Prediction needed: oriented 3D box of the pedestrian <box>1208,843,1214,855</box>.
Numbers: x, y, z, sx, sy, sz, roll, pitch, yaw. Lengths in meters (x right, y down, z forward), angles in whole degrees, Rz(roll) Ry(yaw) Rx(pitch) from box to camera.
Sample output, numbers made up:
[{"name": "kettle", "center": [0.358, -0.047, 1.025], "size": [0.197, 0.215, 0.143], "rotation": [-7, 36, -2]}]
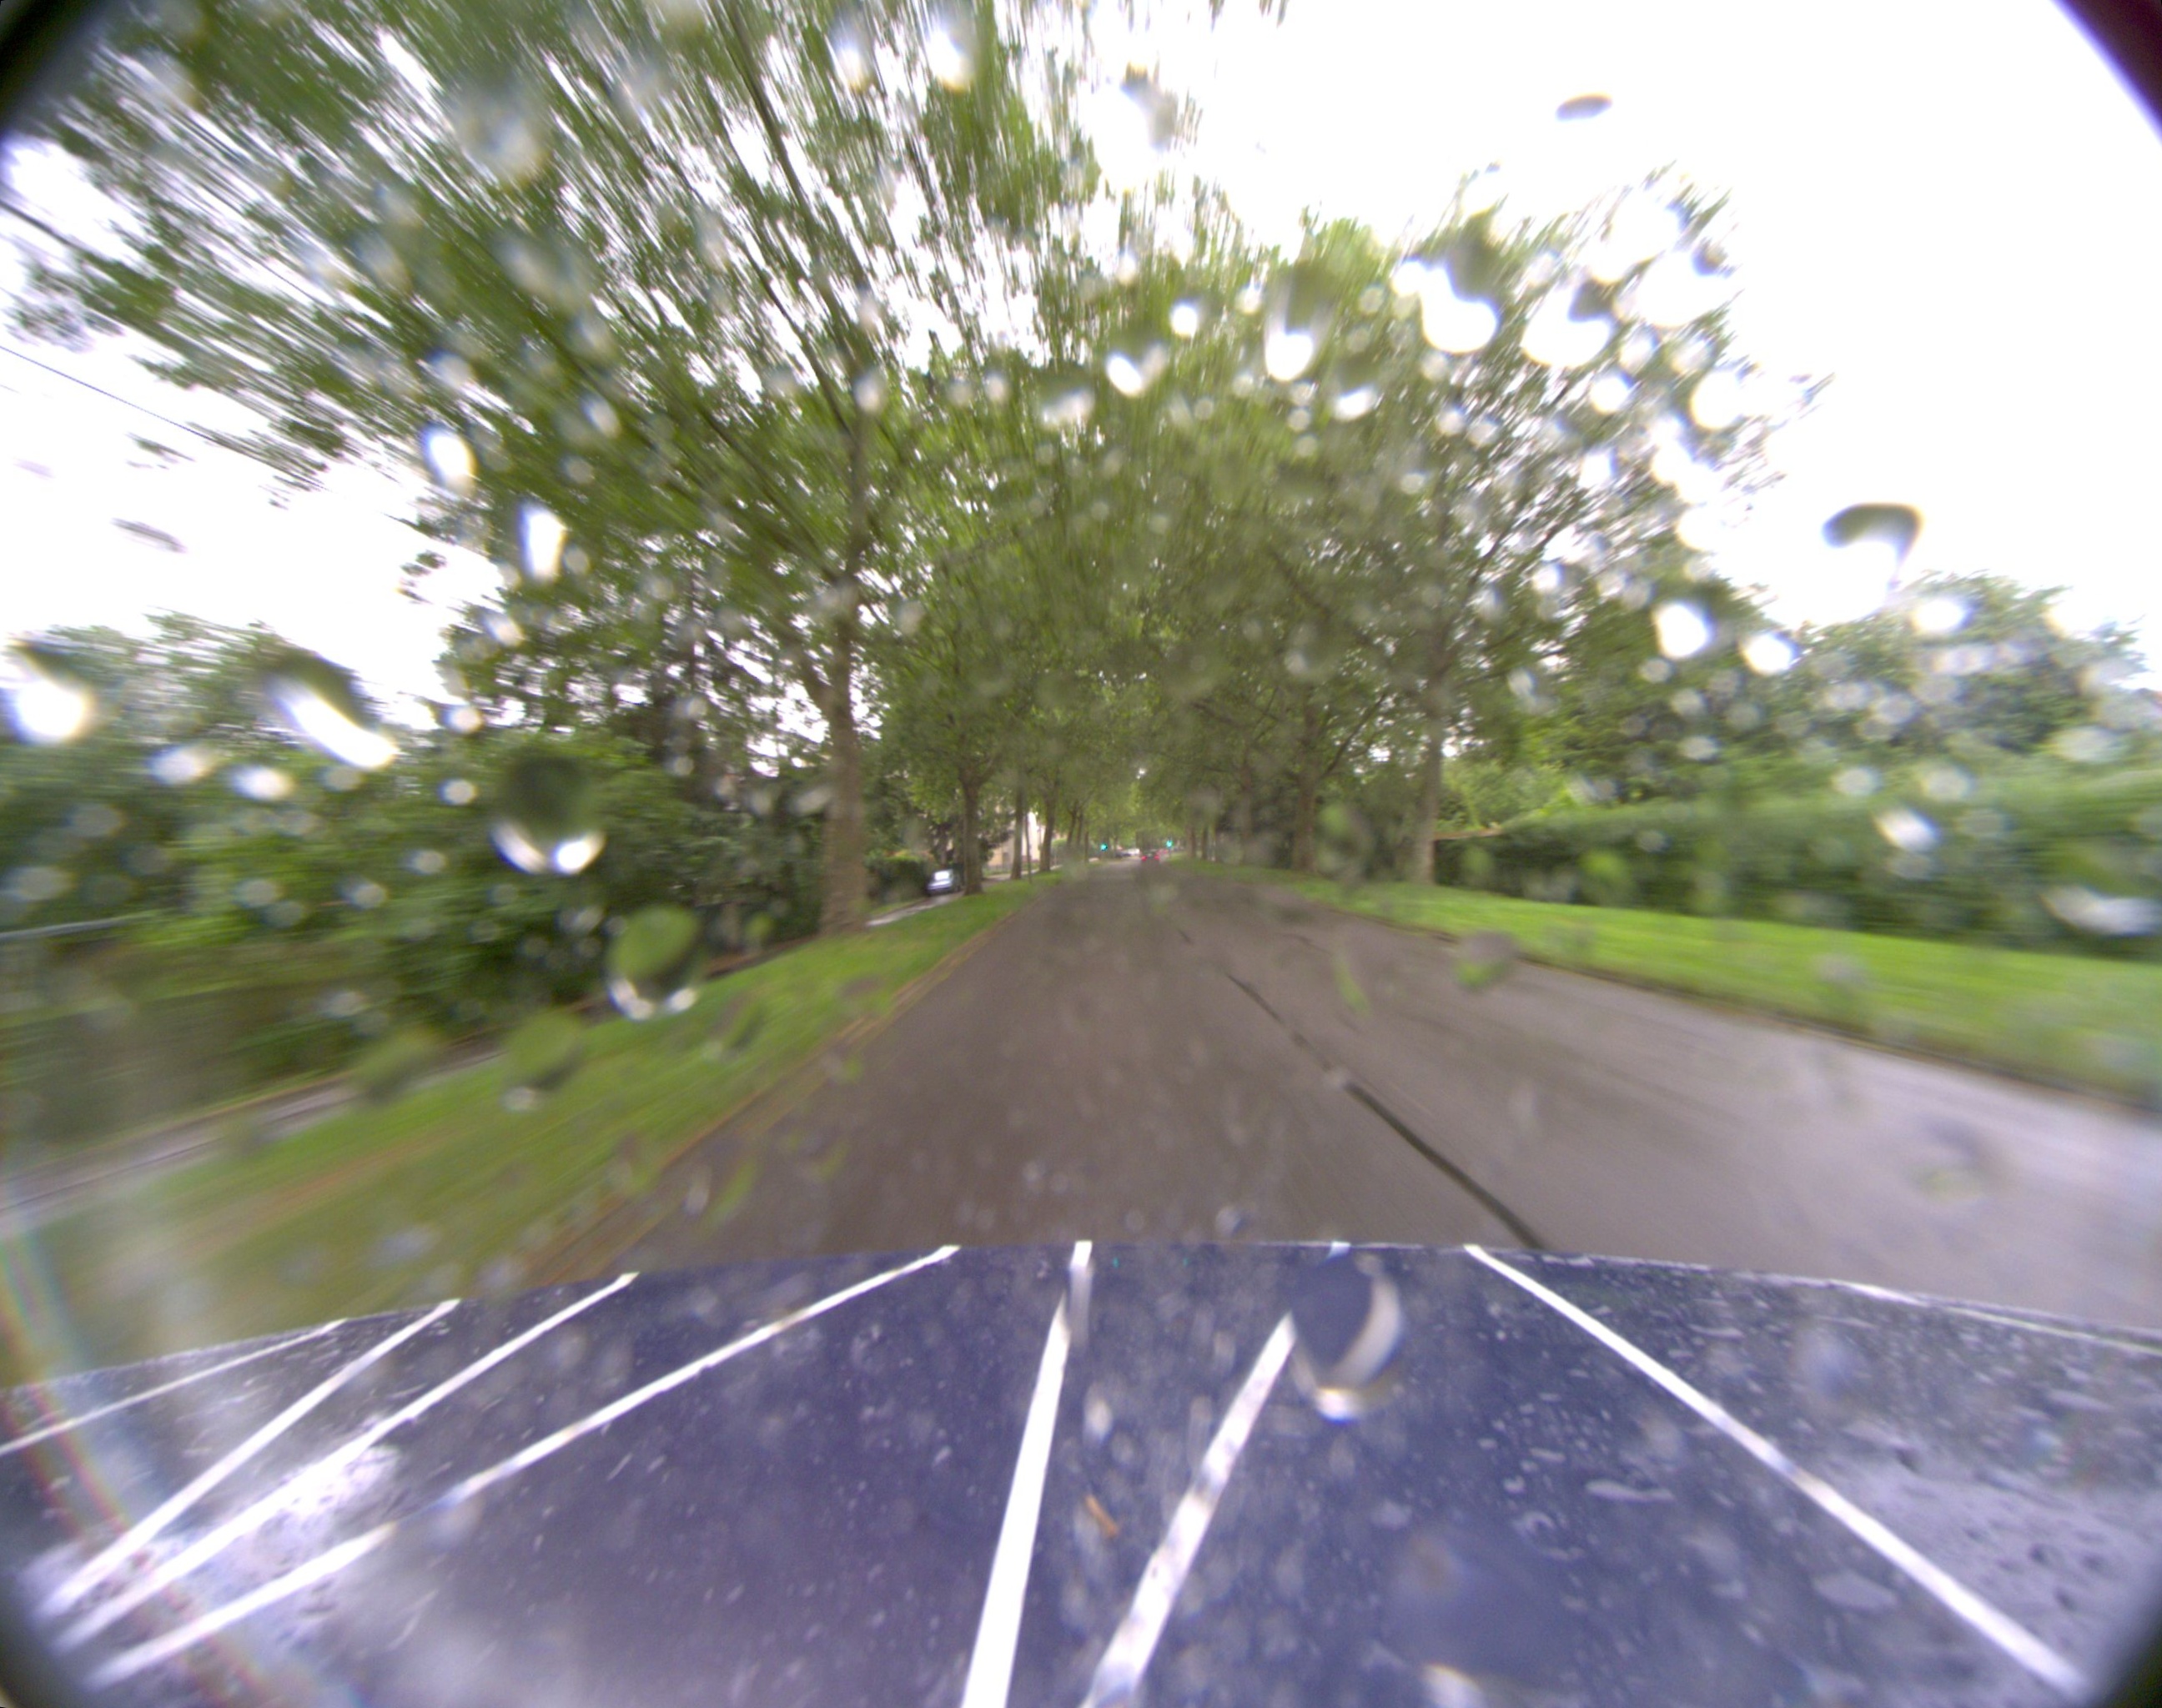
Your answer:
[{"name": "pedestrian", "center": [16.214, -0.637, 94.987], "size": [0.599, 1.445, 0.857], "rotation": [-3, 1, 6]}]

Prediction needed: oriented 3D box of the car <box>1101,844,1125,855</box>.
[{"name": "car", "center": [5.916, -0.840, 142.024], "size": [4.262, 1.846, 1.892], "rotation": [-3, 1, 0]}]

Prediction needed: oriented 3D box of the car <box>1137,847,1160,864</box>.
[{"name": "car", "center": [6.565, 0.152, 74.276], "size": [1.850, 1.493, 4.000], "rotation": [-3, 1, 1]}]

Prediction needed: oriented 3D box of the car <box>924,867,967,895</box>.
[{"name": "car", "center": [-8.326, 1.610, 46.843], "size": [1.800, 1.317, 3.999], "rotation": [-7, 1, 0]}]
